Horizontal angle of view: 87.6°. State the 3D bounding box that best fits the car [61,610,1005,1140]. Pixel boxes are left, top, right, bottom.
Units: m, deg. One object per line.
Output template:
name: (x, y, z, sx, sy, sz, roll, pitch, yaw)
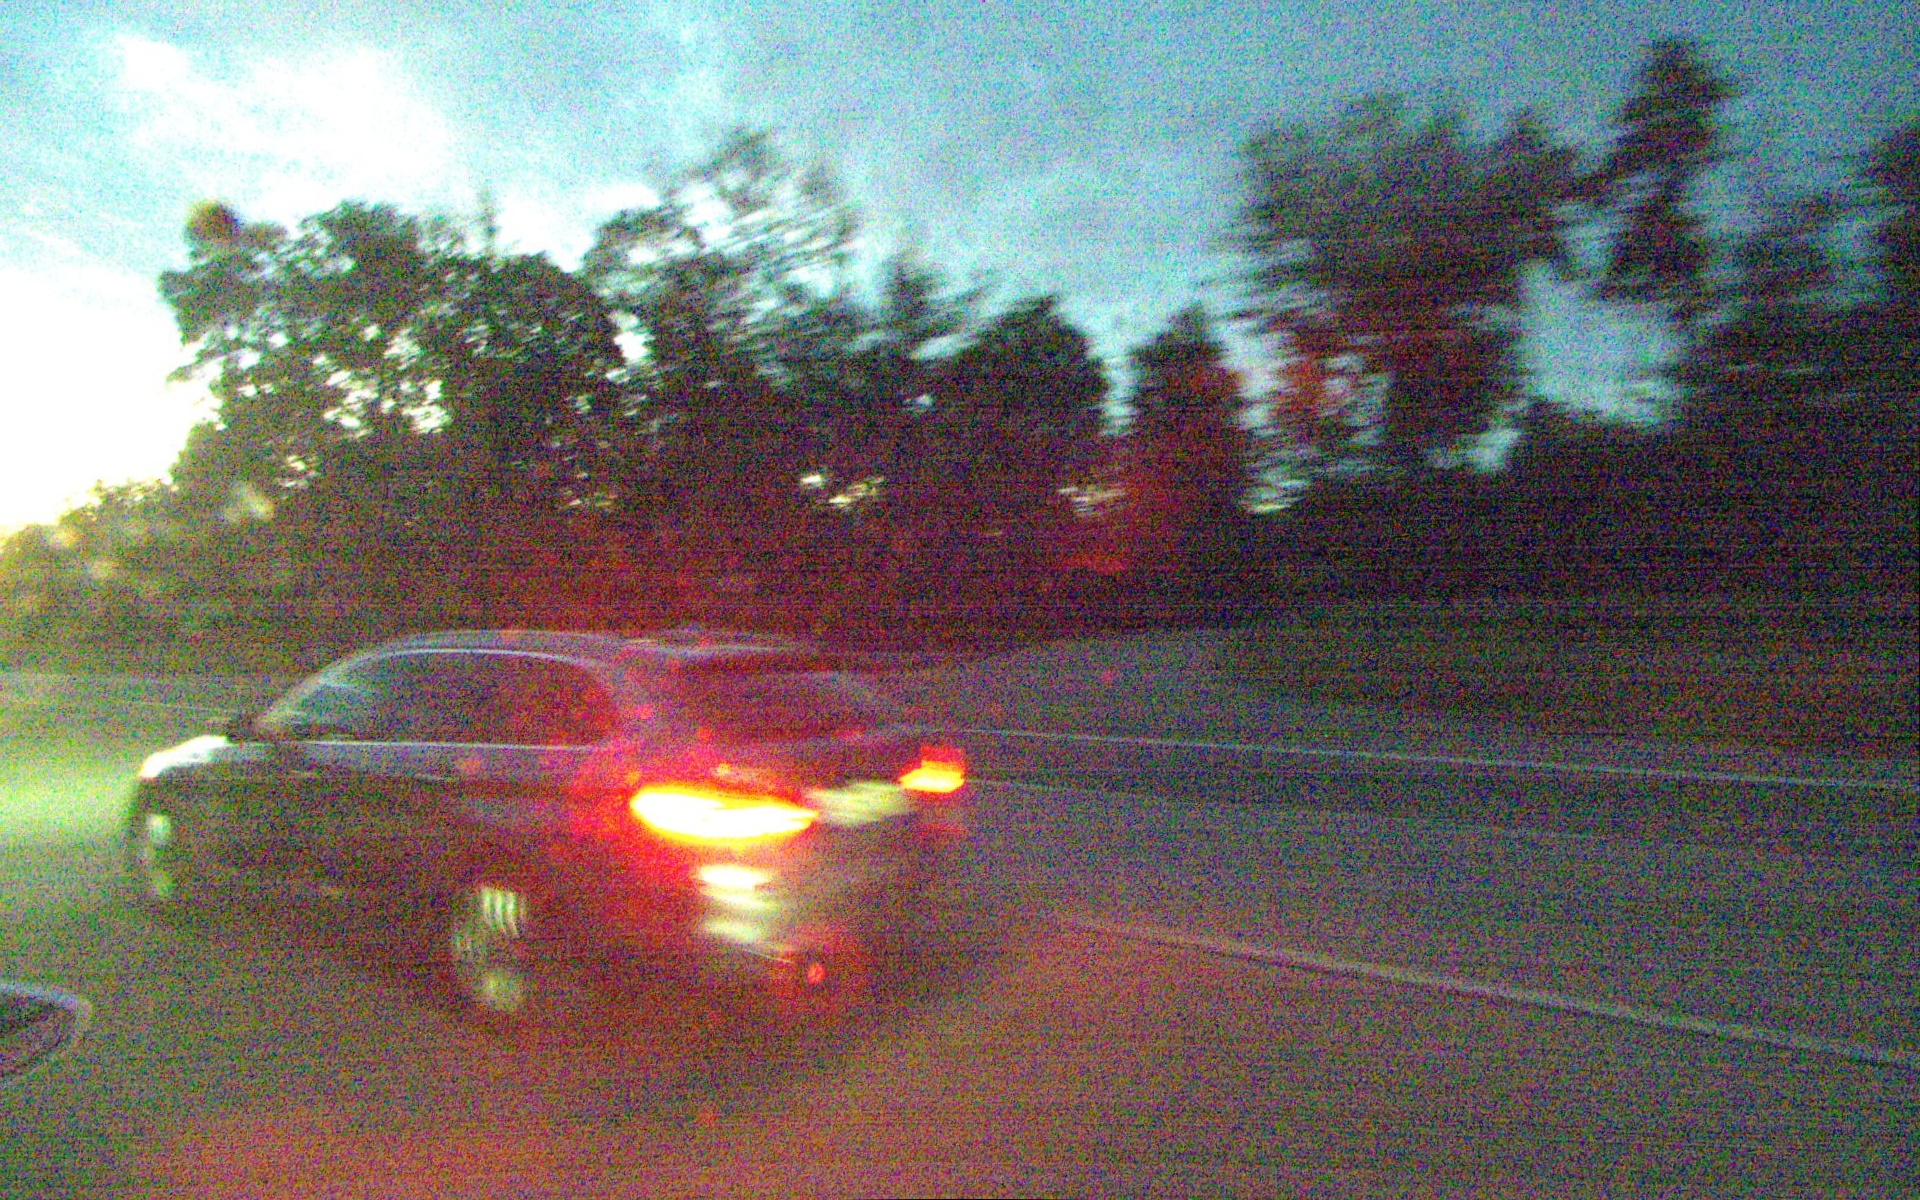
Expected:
car: (-2.479, 0.865, 5.213, 5.154, 1.557, 1.906, 0, 0, 32)
